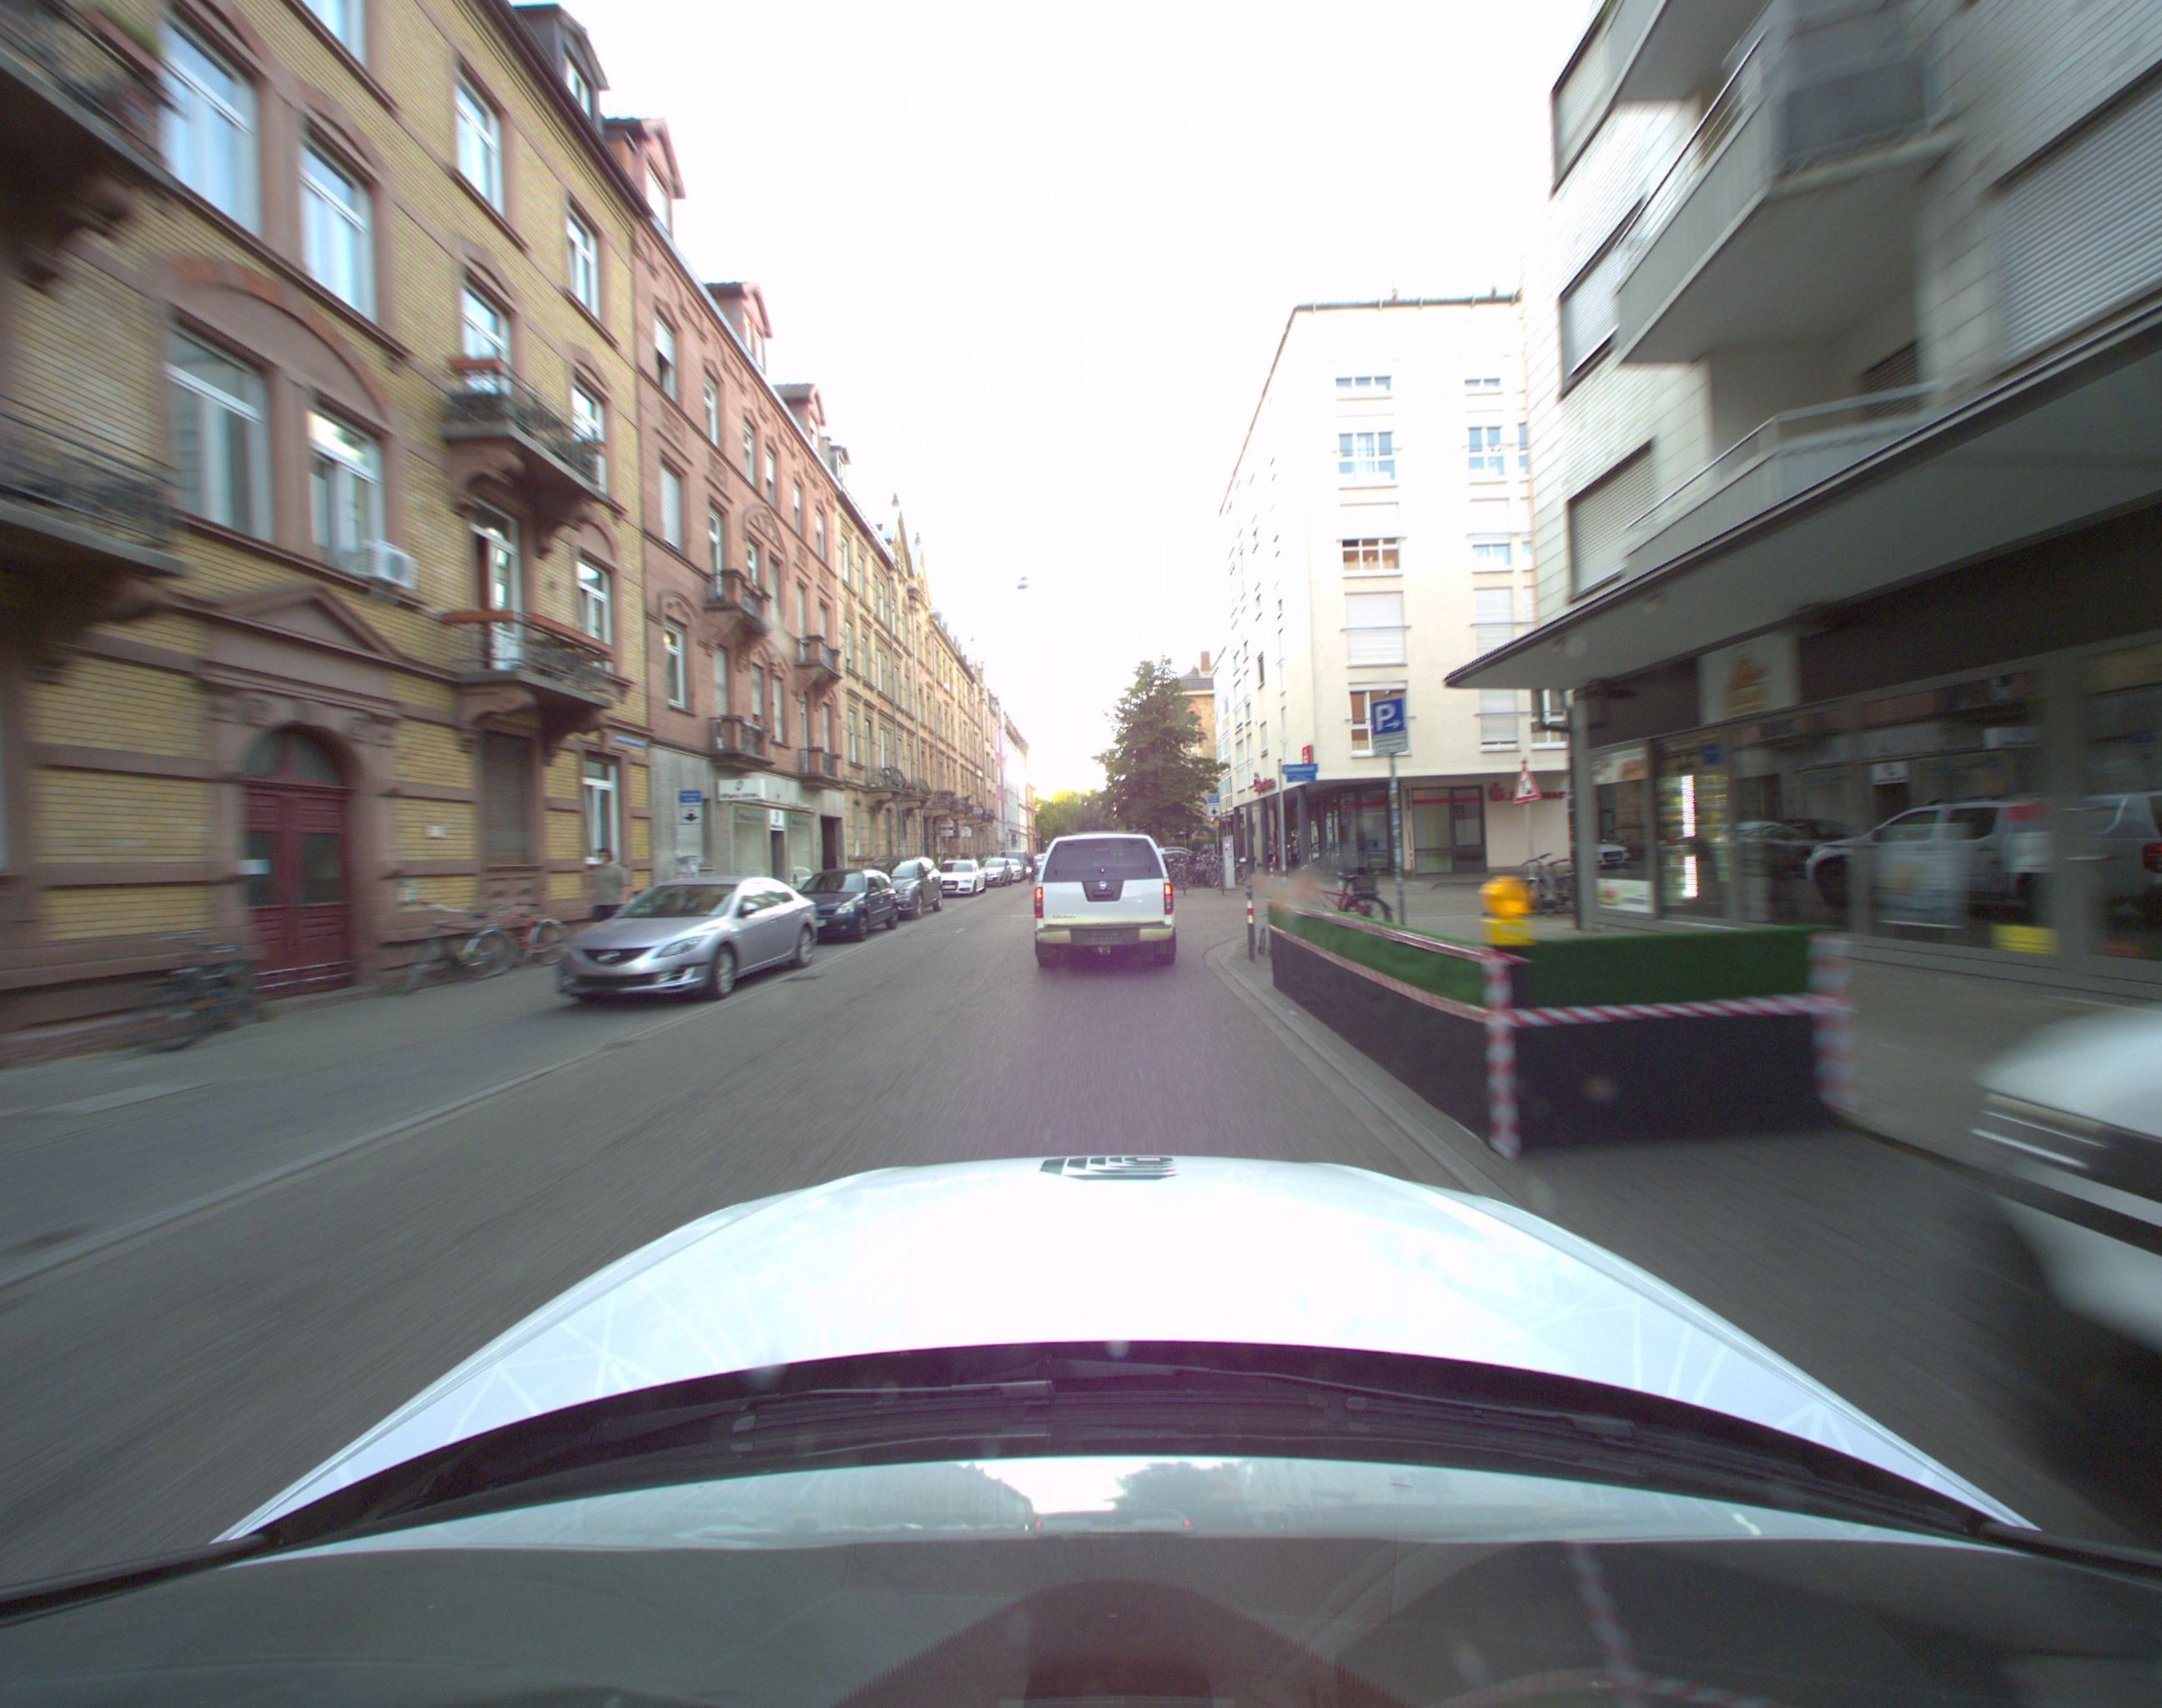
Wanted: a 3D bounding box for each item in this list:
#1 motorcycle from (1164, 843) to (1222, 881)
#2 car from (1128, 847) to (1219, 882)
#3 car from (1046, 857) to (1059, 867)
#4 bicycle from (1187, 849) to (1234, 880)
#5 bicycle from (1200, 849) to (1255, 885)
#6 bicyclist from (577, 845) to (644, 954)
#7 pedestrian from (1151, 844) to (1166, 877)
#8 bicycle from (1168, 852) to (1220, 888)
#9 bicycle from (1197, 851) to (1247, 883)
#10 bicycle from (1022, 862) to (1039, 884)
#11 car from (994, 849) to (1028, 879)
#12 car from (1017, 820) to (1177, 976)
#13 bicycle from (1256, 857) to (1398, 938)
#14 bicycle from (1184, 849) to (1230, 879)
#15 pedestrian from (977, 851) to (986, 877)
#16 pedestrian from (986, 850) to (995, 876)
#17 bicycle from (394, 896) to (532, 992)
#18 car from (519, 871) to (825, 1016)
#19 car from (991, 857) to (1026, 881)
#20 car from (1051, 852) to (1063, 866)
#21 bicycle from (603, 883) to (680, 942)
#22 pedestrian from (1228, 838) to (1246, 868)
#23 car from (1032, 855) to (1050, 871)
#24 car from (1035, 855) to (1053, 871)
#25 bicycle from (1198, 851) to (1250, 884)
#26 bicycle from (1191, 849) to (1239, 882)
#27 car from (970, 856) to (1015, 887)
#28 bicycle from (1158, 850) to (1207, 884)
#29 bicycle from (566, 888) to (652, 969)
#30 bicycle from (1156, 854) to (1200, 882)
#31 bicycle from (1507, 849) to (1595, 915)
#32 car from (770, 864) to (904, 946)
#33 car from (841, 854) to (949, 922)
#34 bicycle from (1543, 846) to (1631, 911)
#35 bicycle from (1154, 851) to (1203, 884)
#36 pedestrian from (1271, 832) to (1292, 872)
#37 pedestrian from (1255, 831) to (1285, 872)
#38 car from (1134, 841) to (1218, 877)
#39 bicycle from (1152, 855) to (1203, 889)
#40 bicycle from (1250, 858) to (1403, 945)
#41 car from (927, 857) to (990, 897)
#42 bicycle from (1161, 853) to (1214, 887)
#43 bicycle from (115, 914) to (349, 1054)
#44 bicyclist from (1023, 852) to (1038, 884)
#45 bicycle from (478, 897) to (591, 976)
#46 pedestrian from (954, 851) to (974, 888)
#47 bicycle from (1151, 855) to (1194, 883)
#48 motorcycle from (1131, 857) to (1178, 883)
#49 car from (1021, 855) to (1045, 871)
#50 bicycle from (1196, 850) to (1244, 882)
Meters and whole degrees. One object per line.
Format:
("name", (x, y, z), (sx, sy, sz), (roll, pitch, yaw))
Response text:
("motorcycle", (5.179, 0.363, 37.823), (2.481, 1.549, 0.824), (-5, -1, 3))
("car", (4.811, 0.521, 42.833), (4.417, 1.455, 1.776), (-5, 0, -6))
("car", (-3.867, 1.081, 111.748), (1.694, 1.426, 4.019), (-1, 0, -2))
("bicycle", (5.271, 0.432, 33.100), (1.718, 1.118, 0.653), (-4, -1, -3))
("bicycle", (5.132, 0.452, 28.593), (1.723, 1.131, 0.576), (-4, -1, -11))
("bicyclist", (-7.816, 0.744, 13.563), (0.708, 1.730, 0.839), (-1, -1, -12))
("pedestrian", (4.169, 0.352, 44.023), (0.626, 1.753, 0.585), (-2, -1, -11))
("bicycle", (4.011, 0.561, 29.023), (1.715, 1.118, 0.707), (-5, -1, 4))
("bicycle", (5.237, 0.495, 30.289), (1.715, 1.054, 0.654), (-5, -1, 4))
("bicycle", (-2.689, 1.028, 43.863), (0.642, 1.081, 2.169), (-4, 0, 2))
("car", (-4.726, 0.662, 55.311), (1.988, 1.924, 4.948), (0, 0, -2))
("car", (0.492, 0.524, 12.402), (1.901, 1.853, 5.280), (-1, 0, 7))
("bicycle", (3.793, 0.698, 12.656), (1.919, 1.134, 0.661), (-5, -1, 38))
("bicycle", (5.231, 0.427, 33.822), (1.718, 1.118, 0.653), (-4, -1, -3))
("pedestrian", (-6.924, 0.662, 56.720), (0.578, 1.771, 0.996), (0, 1, -3))
("pedestrian", (-6.320, 0.635, 56.959), (0.604, 1.772, 0.776), (0, 0, -3))
("bicycle", (-8.547, 1.207, 11.369), (0.547, 1.123, 1.760), (0, 0, 1))
("car", (-5.066, 1.005, 10.943), (1.717, 1.420, 4.582), (-1, 0, 1))
("car", (-4.436, 0.895, 50.275), (1.778, 1.423, 4.483), (0, 0, -1))
("car", (-3.697, 0.759, 125.829), (1.807, 1.977, 4.181), (-1, 0, -3))
("bicycle", (-8.659, 1.123, 16.122), (0.447, 1.022, 1.848), (1, 0, 1))
("pedestrian", (9.197, -0.038, 48.006), (0.725, 1.716, 0.963), (-4, -1, 1))
("car", (-4.057, 0.920, 83.190), (1.631, 1.565, 3.781), (-1, 0, 0))
("car", (-4.089, 0.984, 89.490), (1.840, 1.659, 4.249), (-3, 0, -2))
("bicycle", (5.189, 0.497, 29.618), (1.715, 1.054, 0.654), (-5, -1, 4))
("bicycle", (5.263, 0.451, 32.017), (1.715, 1.118, 0.654), (-5, -1, 4))
("car", (-4.578, 0.878, 42.563), (1.710, 1.457, 4.002), (-1, 0, 2))
("bicycle", (4.084, 0.533, 32.837), (1.777, 1.182, 0.736), (-6, -1, 11))
("bicycle", (-7.797, 1.195, 13.524), (0.708, 1.196, 1.734), (-1, -1, -12))
("bicycle", (4.236, 0.621, 35.667), (1.765, 1.022, 0.565), (-6, -1, 3))
("bicycle", (8.301, 0.489, 14.480), (0.560, 1.067, 1.967), (-3, -2, 6))
("car", (-5.022, 0.991, 17.276), (1.579, 1.420, 3.698), (-2, 0, 2))
("car", (-5.017, 0.853, 22.609), (1.846, 1.633, 4.446), (-1, 0, 1))
("bicycle", (8.960, 0.427, 14.506), (0.560, 1.067, 1.760), (-3, -2, 6))
("bicycle", (4.033, 0.551, 33.680), (1.860, 1.182, 0.744), (-6, -1, 5))
("pedestrian", (9.009, -0.087, 36.595), (0.656, 1.723, 0.667), (-3, 1, 28))
("pedestrian", (8.331, -0.100, 35.900), (0.780, 1.723, 0.902), (-6, 2, -42))
("car", (5.265, 0.286, 45.523), (4.384, 1.647, 1.746), (-5, 0, 0))
("bicycle", (3.531, 0.664, 29.886), (1.717, 1.118, 0.706), (-4, -1, -1))
("bicycle", (3.498, 0.706, 11.716), (1.919, 1.134, 0.661), (-5, -1, 38))
("car", (-4.870, 0.879, 32.991), (1.752, 1.412, 4.509), (-1, 0, 1))
("bicycle", (4.002, 0.588, 30.673), (1.804, 1.118, 0.706), (-4, -1, -1))
("bicycle", (-8.442, 1.238, 8.214), (0.737, 1.123, 1.607), (-1, 0, -6))
("bicyclist", (-2.706, 0.747, 43.888), (0.642, 1.620, 0.918), (-4, 0, 1))
("bicycle", (-8.511, 1.252, 12.771), (0.547, 1.037, 1.760), (0, 0, 1))
("pedestrian", (-5.703, 0.740, 39.785), (0.550, 1.755, 1.026), (-2, -1, 15))
("bicycle", (3.944, 0.649, 35.062), (1.712, 1.031, 0.668), (-6, -1, 3))
("motorcycle", (3.474, 0.767, 38.733), (2.061, 1.078, 0.660), (-4, -1, -15))
("car", (-4.361, 0.794, 73.932), (1.827, 1.458, 4.207), (0, 0, 1))
("bicycle", (5.360, 0.465, 31.447), (1.715, 1.118, 0.654), (-5, -1, 4))
